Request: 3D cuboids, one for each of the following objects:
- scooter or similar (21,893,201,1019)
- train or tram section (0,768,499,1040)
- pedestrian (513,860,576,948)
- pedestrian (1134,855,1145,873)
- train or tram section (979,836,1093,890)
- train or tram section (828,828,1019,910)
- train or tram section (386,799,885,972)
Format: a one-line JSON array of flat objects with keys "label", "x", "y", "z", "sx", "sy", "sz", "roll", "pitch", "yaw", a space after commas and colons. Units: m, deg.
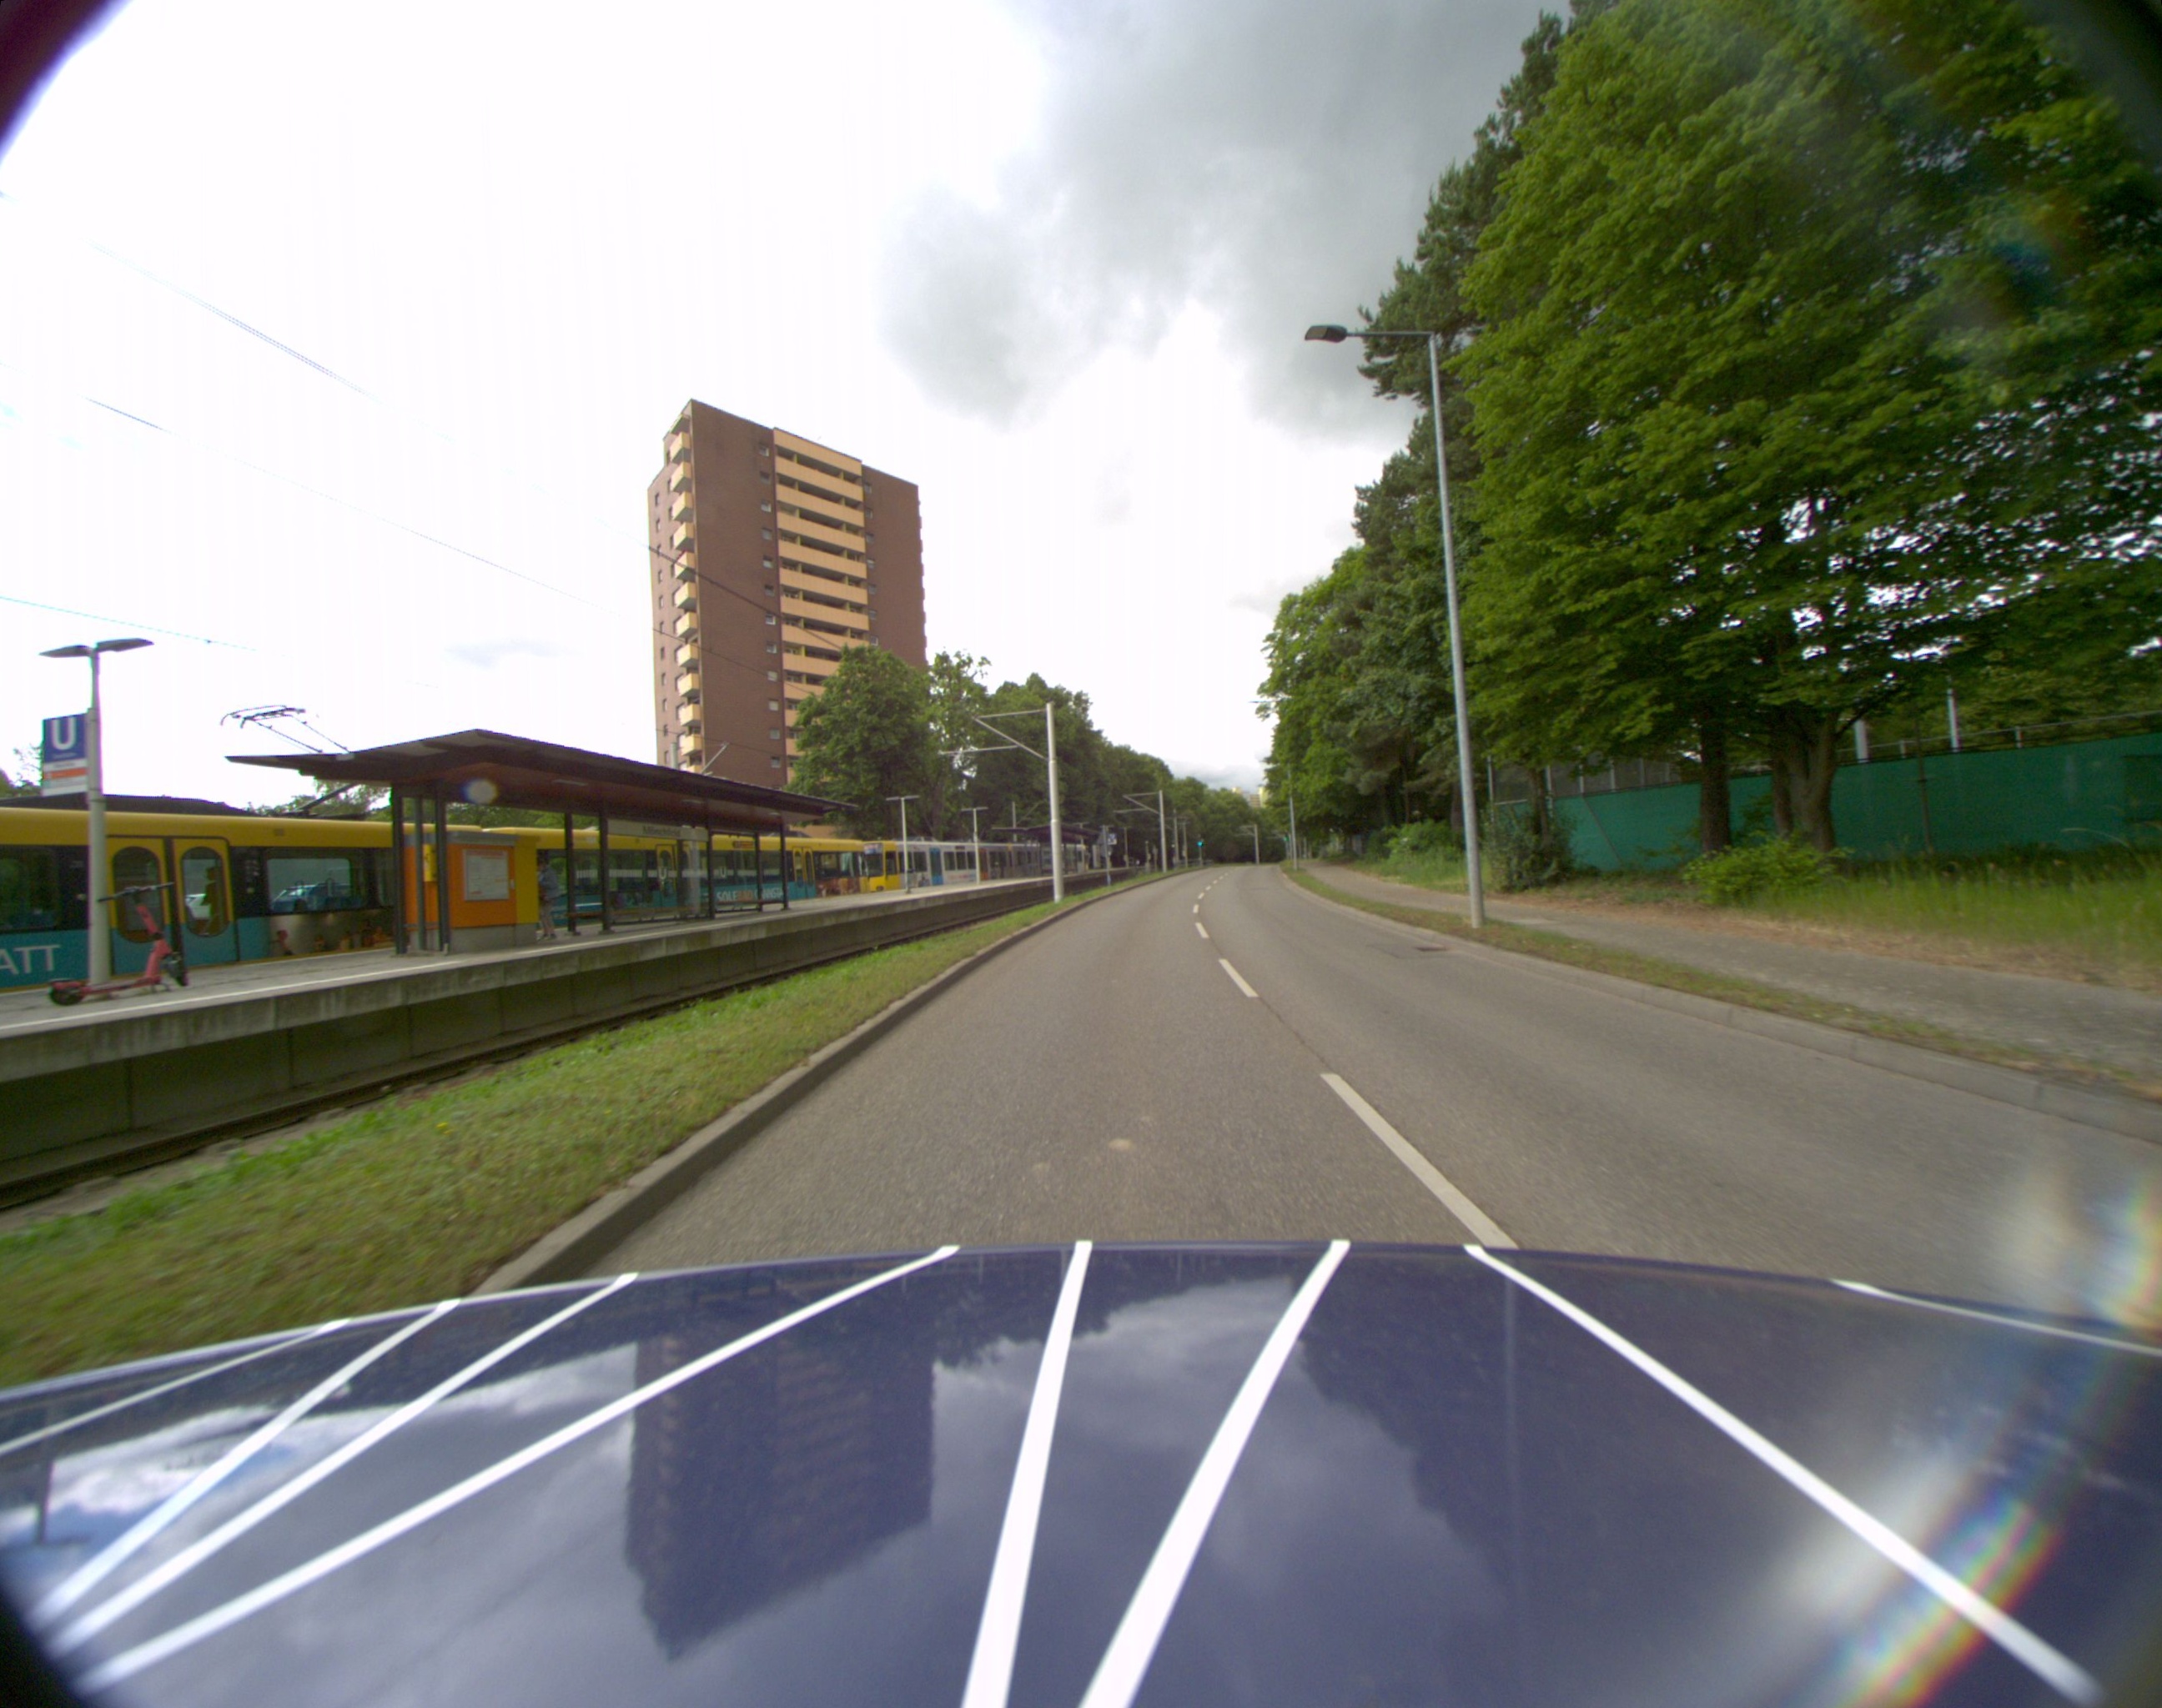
[{"label": "scooter or similar", "x": -10.716, "y": 1.088, "z": 8.443, "sx": 0.369, "sy": 1.235, "sz": 1.147, "roll": -3, "pitch": 0, "yaw": 10}, {"label": "train or tram section", "x": -16.069, "y": 0.753, "z": 7.418, "sx": 2.818, "sy": 3.567, "sz": 19.528, "roll": -5, "pitch": -1, "yaw": 10}, {"label": "pedestrian", "x": -9.990, "y": 0.922, "z": 14.149, "sx": 0.623, "sy": 1.564, "sz": 0.666, "roll": -3, "pitch": 1, "yaw": 27}, {"label": "pedestrian", "x": 5.962, "y": 1.011, "z": 77.535, "sx": 0.986, "sy": 1.747, "sz": 0.730, "roll": -4, "pitch": -1, "yaw": 8}, {"label": "train or tram section", "x": -3.155, "y": 0.564, "z": 64.028, "sx": 2.817, "sy": 3.714, "sz": 18.555, "roll": -5, "pitch": -1, "yaw": 18}, {"label": "train or tram section", "x": -8.404, "y": 0.677, "z": 45.778, "sx": 2.818, "sy": 3.776, "sz": 18.953, "roll": -5, "pitch": -1, "yaw": 15}, {"label": "train or tram section", "x": -12.663, "y": 0.738, "z": 26.822, "sx": 2.818, "sy": 3.714, "sz": 19.529, "roll": -5, "pitch": -1, "yaw": 11}]
